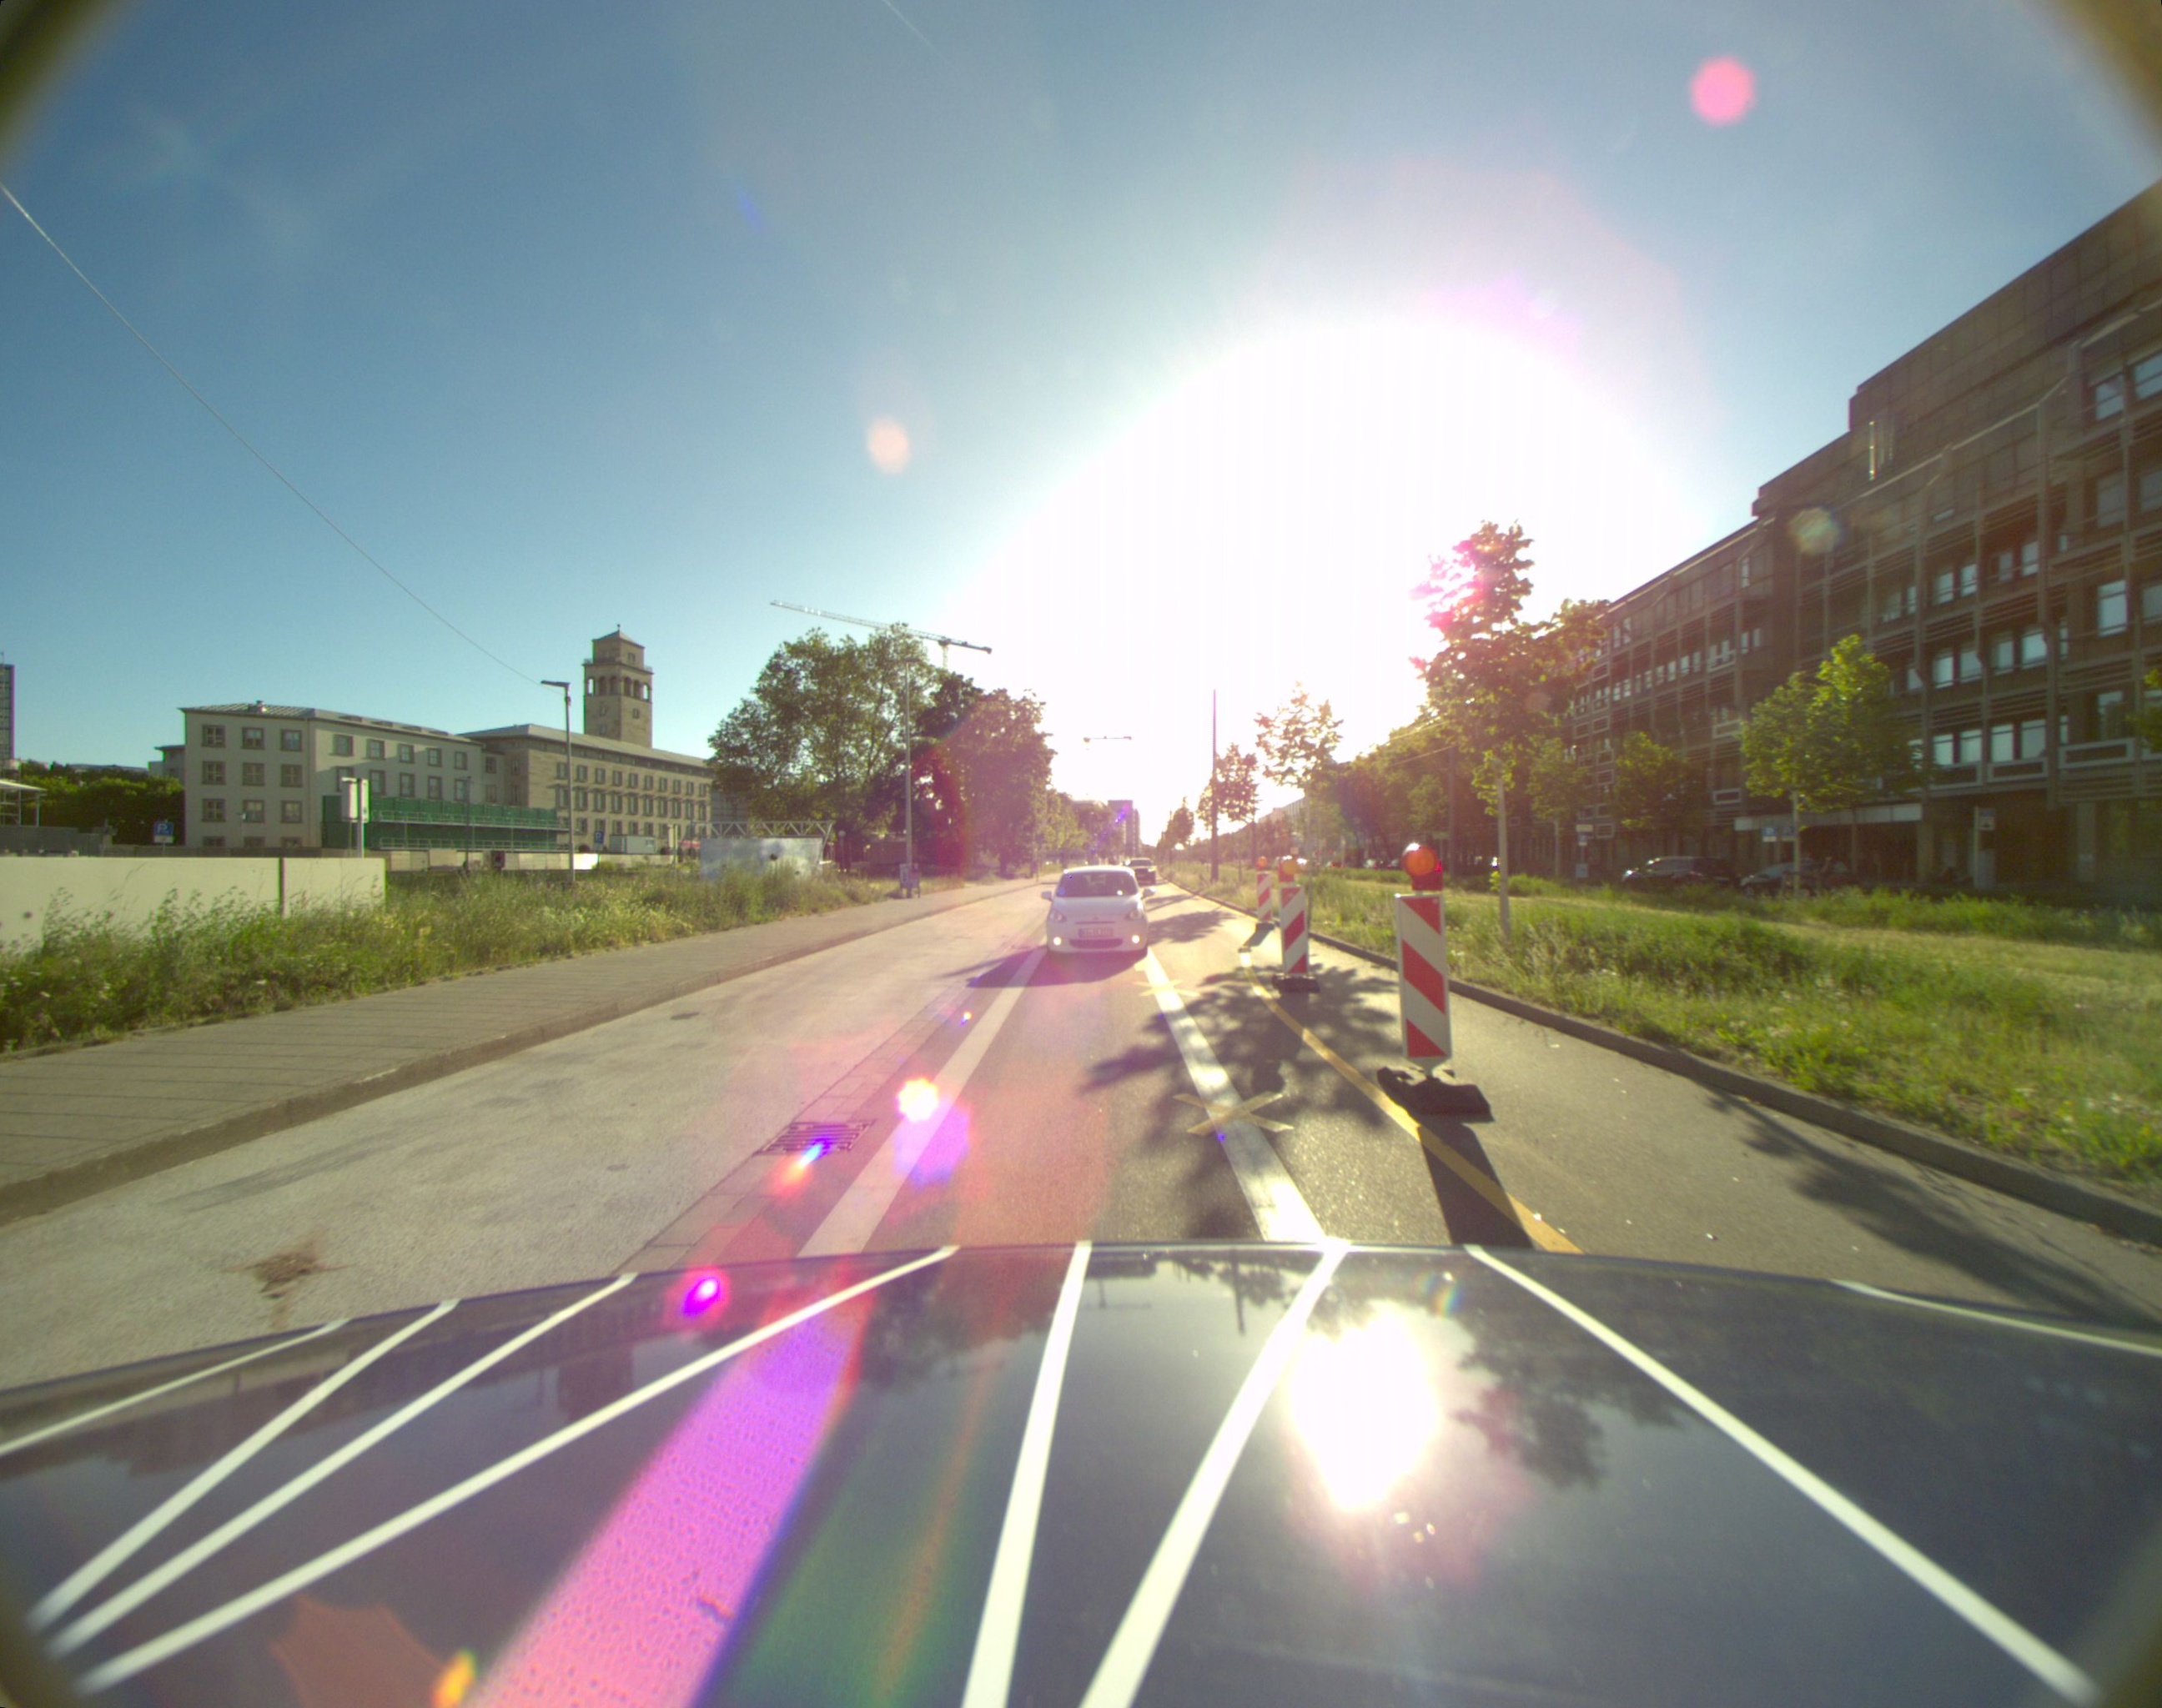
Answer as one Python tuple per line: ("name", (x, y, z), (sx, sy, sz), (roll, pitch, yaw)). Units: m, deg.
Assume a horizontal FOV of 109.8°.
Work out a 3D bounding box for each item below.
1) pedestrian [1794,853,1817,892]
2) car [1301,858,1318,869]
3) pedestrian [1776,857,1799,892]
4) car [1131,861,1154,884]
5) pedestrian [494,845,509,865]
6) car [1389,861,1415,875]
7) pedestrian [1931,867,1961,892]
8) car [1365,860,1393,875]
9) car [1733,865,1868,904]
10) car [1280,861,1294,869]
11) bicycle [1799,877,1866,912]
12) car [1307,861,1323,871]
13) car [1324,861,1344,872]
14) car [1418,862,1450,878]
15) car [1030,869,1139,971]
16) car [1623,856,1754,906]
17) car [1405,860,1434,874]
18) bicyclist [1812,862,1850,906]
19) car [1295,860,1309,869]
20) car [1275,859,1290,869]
("pedestrian", (32.774, 0.834, 34.396), (0.521, 1.711, 0.537), (1, 0, 8))
("car", (30.899, 1.301, 102.808), (1.631, 1.487, 3.782), (1, 0, 6))
("pedestrian", (32.169, 0.922, 34.592), (0.521, 1.569, 0.537), (1, 0, 8))
("car", (4.085, 1.199, 50.403), (1.458, 1.471, 3.529), (0, -1, 5))
("pedestrian", (-37.246, 0.076, 48.814), (0.572, 1.288, 0.441), (-2, 1, 14))
("car", (37.549, 1.640, 89.046), (1.725, 1.592, 3.632), (-2, 0, 4))
("pedestrian", (35.061, 1.035, 30.786), (0.618, 0.980, 0.499), (1, 0, 7))
("car", (31.177, 1.380, 79.595), (1.719, 1.379, 4.041), (-2, 0, 6))
("car", (28.076, 1.139, 29.839), (1.719, 1.379, 4.041), (-1, 0, 5))
("car", (32.779, 1.742, 121.079), (1.554, 1.371, 3.782), (1, 0, 6))
("bicycle", (25.241, 1.355, 25.546), (0.566, 1.090, 1.771), (1, -1, 3))
("car", (36.179, 1.829, 117.521), (1.631, 1.487, 3.782), (1, 0, 6))
("car", (33.866, 1.667, 101.914), (1.631, 1.487, 4.419), (1, 0, 6))
("car", (35.976, 1.592, 77.538), (1.725, 1.535, 3.633), (-2, 0, 4))
("car", (0.169, 1.019, 12.989), (1.614, 1.488, 3.396), (-1, -1, 4))
("car", (22.565, 0.967, 28.454), (1.732, 1.736, 4.122), (0, 0, 2))
("car", (37.195, 1.424, 83.611), (1.726, 1.477, 3.632), (0, 0, 3))
("bicyclist", (25.246, 0.987, 25.587), (0.566, 1.448, 0.706), (1, 0, 3))
("car", (36.745, 1.755, 126.201), (1.554, 1.371, 3.782), (1, 0, 6))
("car", (34.618, 1.641, 130.677), (1.864, 1.671, 3.782), (1, 0, 6))
